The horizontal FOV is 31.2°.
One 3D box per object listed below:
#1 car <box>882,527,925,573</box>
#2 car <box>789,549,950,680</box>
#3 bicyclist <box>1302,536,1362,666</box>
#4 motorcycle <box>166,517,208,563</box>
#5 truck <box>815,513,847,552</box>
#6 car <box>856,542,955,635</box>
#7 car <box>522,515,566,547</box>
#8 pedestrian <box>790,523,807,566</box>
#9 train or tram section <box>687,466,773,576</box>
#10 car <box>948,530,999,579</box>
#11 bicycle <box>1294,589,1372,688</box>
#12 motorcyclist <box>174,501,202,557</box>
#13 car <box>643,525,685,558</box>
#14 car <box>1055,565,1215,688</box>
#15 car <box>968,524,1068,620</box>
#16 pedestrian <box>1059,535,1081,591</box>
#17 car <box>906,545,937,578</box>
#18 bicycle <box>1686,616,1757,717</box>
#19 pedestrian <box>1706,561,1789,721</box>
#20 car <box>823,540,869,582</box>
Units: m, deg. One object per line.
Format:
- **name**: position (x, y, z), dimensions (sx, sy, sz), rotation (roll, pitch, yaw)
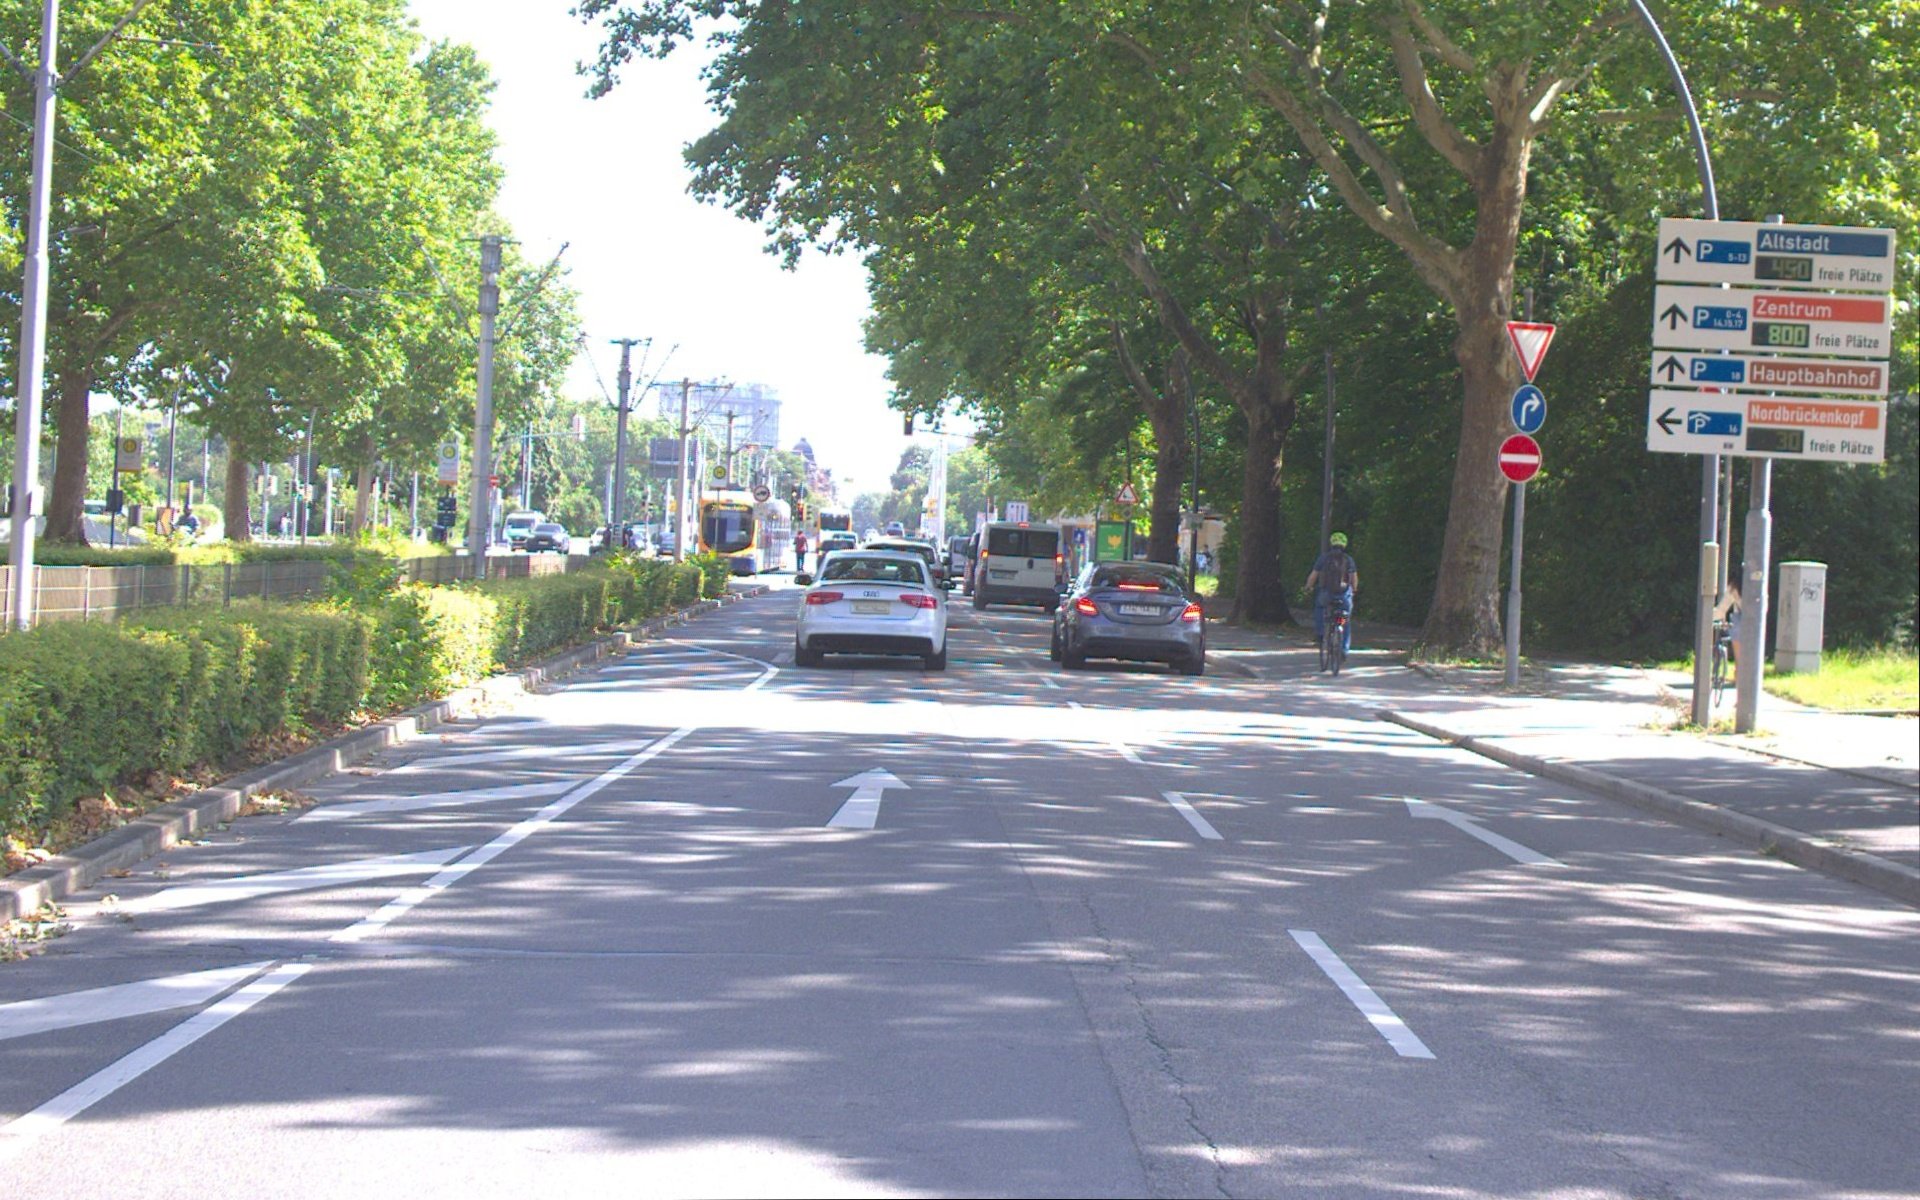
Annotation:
- **car**: position (-2.463, -2.175, 149.788), dimensions (1.729, 1.895, 4.000), rotation (3, 1, -1)
- **car**: position (-1.070, 0.140, 41.804), dimensions (1.784, 1.416, 3.885), rotation (3, 1, -1)
- **bicyclist**: position (4.831, 0.002, 44.688), dimensions (0.634, 1.642, 0.979), rotation (0, 2, -2)
- **motorcycle**: position (-20.596, -1.602, 91.660), dimensions (0.632, 1.171, 2.000), rotation (3, 1, -1)
- **truck**: position (-9.733, -5.096, 259.942), dimensions (1.993, 2.780, 8.519), rotation (3, 1, 0)
- **car**: position (-1.015, -0.245, 64.824), dimensions (1.729, 1.599, 3.885), rotation (3, 1, -1)
- **car**: position (-22.753, -3.758, 188.175), dimensions (1.830, 1.618, 4.897), rotation (3, 1, -1)
- **pedestrian**: position (-7.317, -2.524, 155.443), dimensions (0.624, 1.911, 0.690), rotation (3, 1, 0)
- **train or tram section**: position (-8.887, -3.029, 133.597), dimensions (2.616, 4.001, 7.749), rotation (3, 1, 0)
- **car**: position (0.559, -1.992, 150.705), dimensions (2.072, 1.992, 4.058), rotation (3, 1, -1)
- **bicycle**: position (4.836, 0.481, 44.691), dimensions (0.714, 1.144, 2.179), rotation (0, 3, -2)
- **motorcyclist**: position (-20.575, -1.889, 91.619), dimensions (0.581, 1.452, 0.533), rotation (3, 1, -1)
- **car**: position (-16.862, -3.324, 196.130), dimensions (1.993, 1.728, 4.000), rotation (3, 1, 0)
- **car**: position (2.252, 0.317, 45.190), dimensions (1.782, 1.415, 4.000), rotation (3, 1, -1)
- **car**: position (1.410, -0.704, 85.269), dimensions (2.230, 2.204, 4.162), rotation (3, 1, -1)
- **pedestrian**: position (3.889, -1.313, 121.938), dimensions (0.635, 1.939, 0.719), rotation (3, 1, 0)
- **car**: position (-2.347, -2.355, 208.272), dimensions (1.729, 1.895, 4.000), rotation (3, 1, -1)
- **bicycle**: position (8.701, 0.747, 39.323), dimensions (0.349, 1.078, 1.699), rotation (3, 1, -1)
- **pedestrian**: position (9.034, 0.462, 39.469), dimensions (0.632, 1.779, 0.874), rotation (3, 1, -1)
- **car**: position (-4.681, -1.610, 142.011), dimensions (1.729, 1.625, 4.000), rotation (3, 1, -1)
